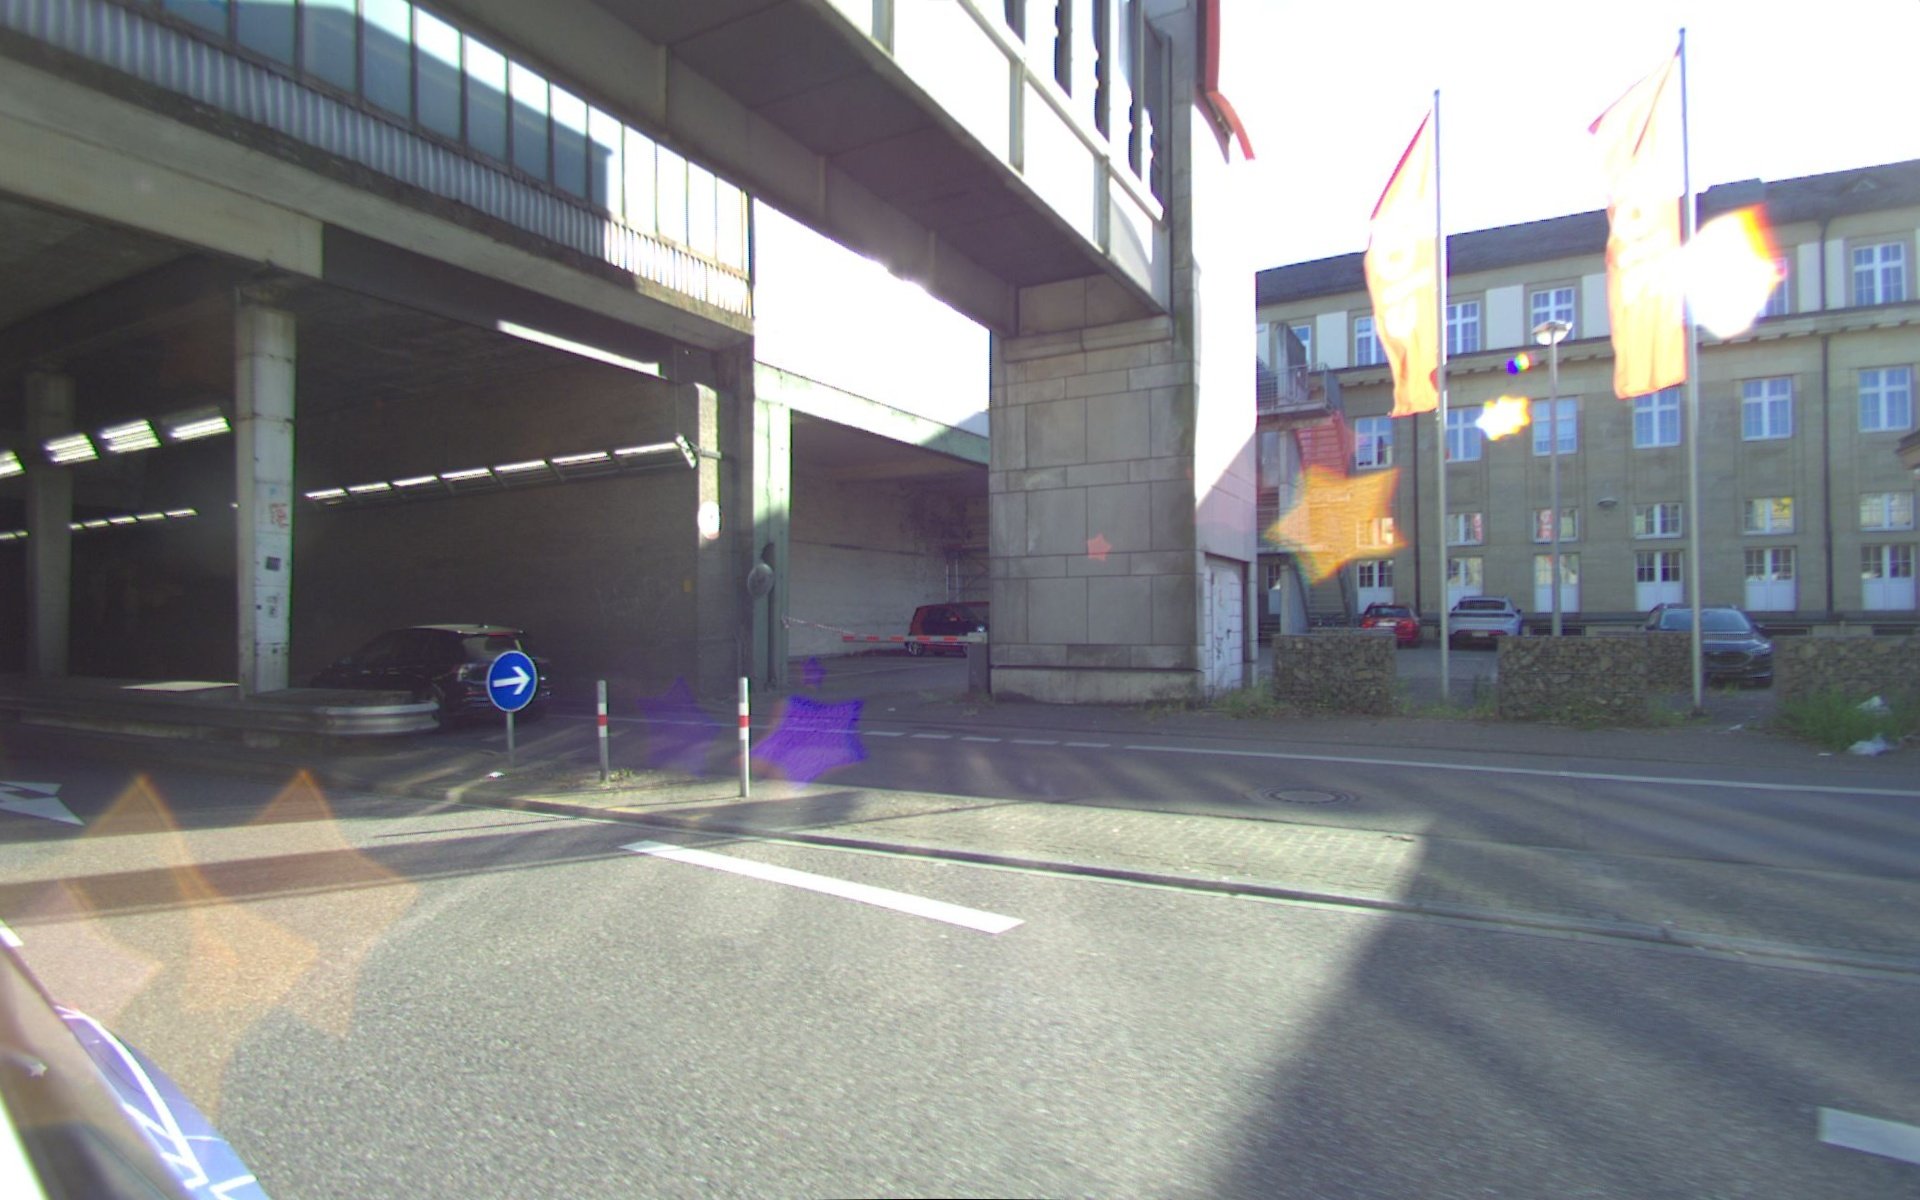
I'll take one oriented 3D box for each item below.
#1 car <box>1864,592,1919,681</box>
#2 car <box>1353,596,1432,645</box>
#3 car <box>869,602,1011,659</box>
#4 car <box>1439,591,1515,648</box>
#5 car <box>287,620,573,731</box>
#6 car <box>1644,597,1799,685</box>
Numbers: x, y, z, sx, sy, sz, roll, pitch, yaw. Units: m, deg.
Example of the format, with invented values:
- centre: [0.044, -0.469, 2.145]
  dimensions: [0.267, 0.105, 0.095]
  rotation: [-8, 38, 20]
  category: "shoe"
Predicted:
- centre: [16.418, 0.565, 16.370]
  dimensions: [1.803, 1.409, 3.960]
  rotation: [-2, -1, 29]
  category: "car"
- centre: [13.828, 0.639, 32.225]
  dimensions: [1.941, 1.453, 3.961]
  rotation: [-2, -1, 28]
  category: "car"
- centre: [-0.626, 0.918, 30.364]
  dimensions: [3.984, 1.591, 1.680]
  rotation: [-2, -1, 30]
  category: "car"
- centre: [15.896, 0.585, 31.073]
  dimensions: [1.941, 1.613, 3.904]
  rotation: [-2, -1, 28]
  category: "car"
- centre: [-7.900, 1.043, 14.977]
  dimensions: [4.399, 1.416, 1.739]
  rotation: [-2, -1, 31]
  category: "car"
- centre: [14.123, 0.689, 18.990]
  dimensions: [1.840, 1.440, 3.959]
  rotation: [-1, 0, 30]
  category: "car"
